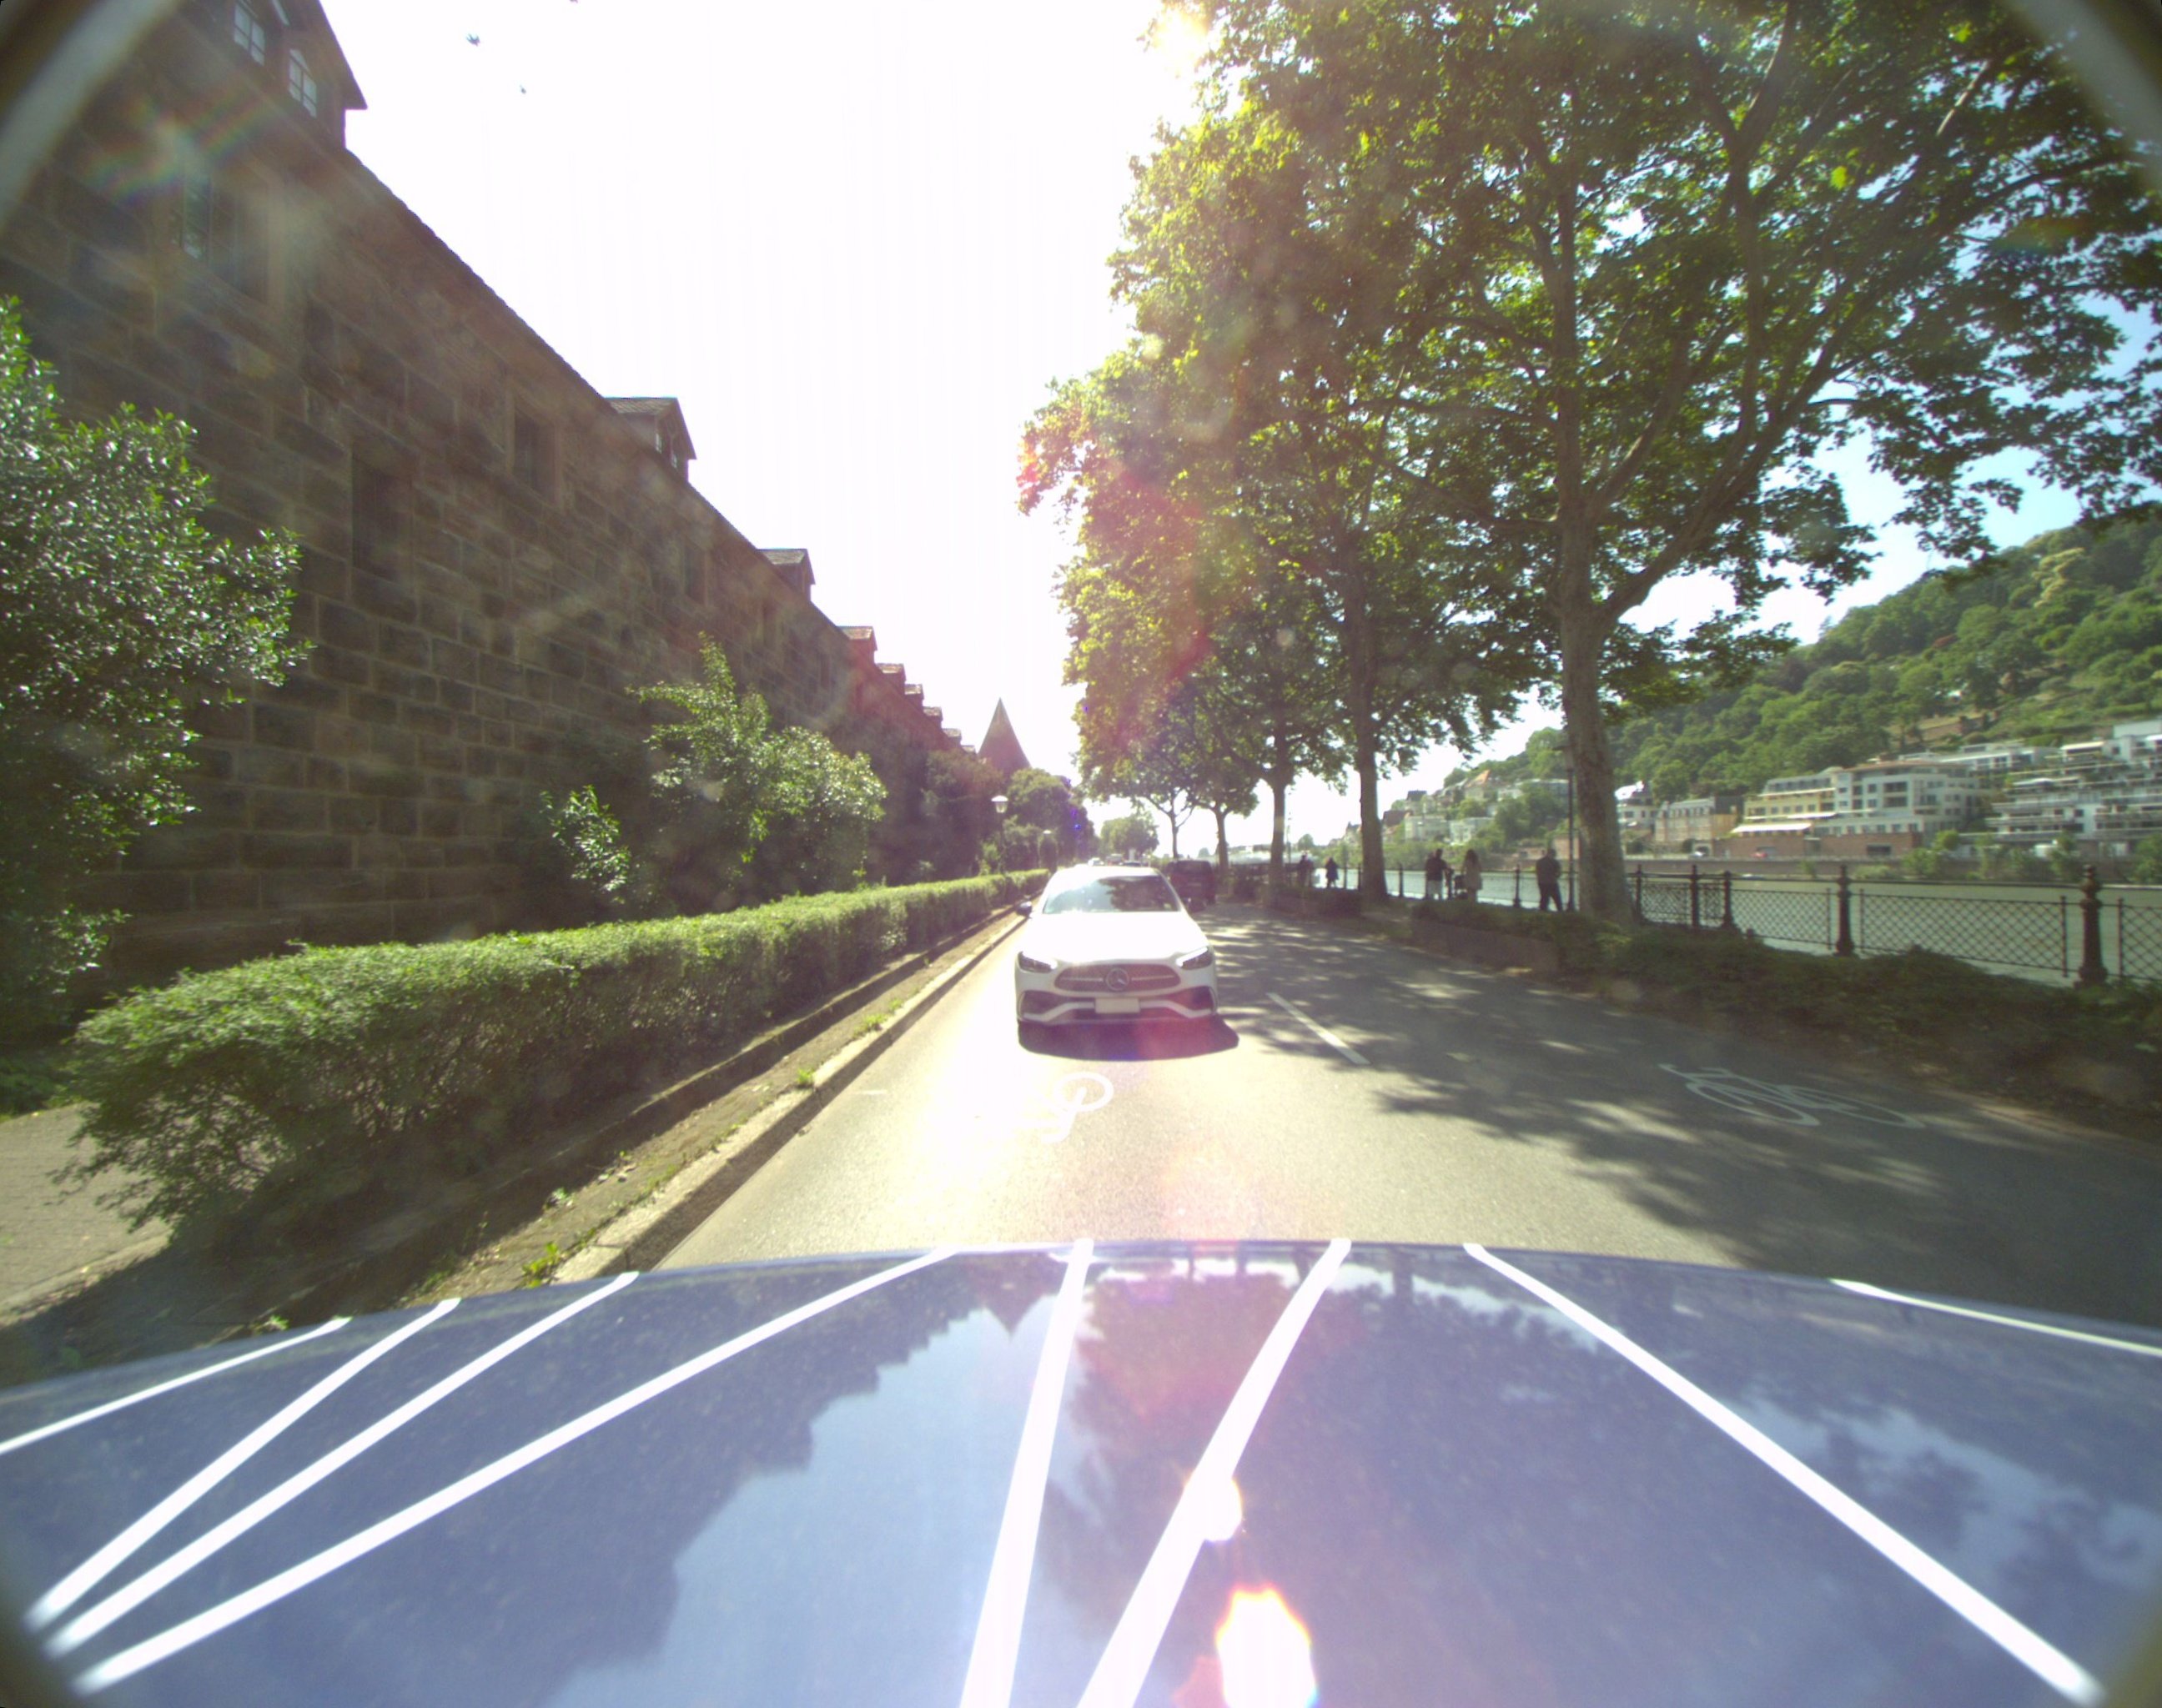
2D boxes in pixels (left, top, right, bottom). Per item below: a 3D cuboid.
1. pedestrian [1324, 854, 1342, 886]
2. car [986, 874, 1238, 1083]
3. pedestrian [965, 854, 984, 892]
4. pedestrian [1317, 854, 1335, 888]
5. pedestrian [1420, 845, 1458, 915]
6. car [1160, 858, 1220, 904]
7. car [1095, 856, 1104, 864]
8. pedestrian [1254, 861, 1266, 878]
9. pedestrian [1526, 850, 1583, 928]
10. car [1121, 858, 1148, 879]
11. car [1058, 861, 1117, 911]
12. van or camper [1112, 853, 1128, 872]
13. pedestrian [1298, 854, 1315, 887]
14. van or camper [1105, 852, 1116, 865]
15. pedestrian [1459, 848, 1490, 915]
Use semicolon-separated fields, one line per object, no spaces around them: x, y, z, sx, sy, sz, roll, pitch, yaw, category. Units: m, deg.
12.782;0.815;38.507;0.705;1.594;0.705;-1;1;3;pedestrian
0.265;0.985;7.812;1.829;1.418;4.359;-2;0;1;car
-4.711;0.839;33.663;0.700;1.643;0.705;1;0;3;pedestrian
12.908;0.878;40.059;0.705;1.786;0.705;-1;1;3;pedestrian
9.660;0.692;20.517;0.642;1.859;0.806;1;0;2;pedestrian
4.090;0.970;29.058;1.767;1.638;4.090;1;0;1;car
4.630;1.540;188.785;1.923;1.975;4.000;0;0;-1;car
13.343;1.161;56.614;0.704;1.300;0.656;1;0;2;pedestrian
10.804;0.781;17.370;0.695;1.707;0.874;-3;0;0;pedestrian
4.318;1.168;62.182;1.881;1.688;4.259;1;0;0;car
0.260;1.034;26.103;1.854;1.543;3.849;0;0;1;car
5.541;1.182;108.891;1.965;2.552;5.841;2;0;1;van or camper
11.829;0.849;39.889;0.705;1.721;0.705;-1;1;3;pedestrian
6.510;1.005;167.361;2.328;2.646;6.264;1;0;1;van or camper
10.547;0.721;20.393;0.518;1.758;0.592;1;0;2;pedestrian
